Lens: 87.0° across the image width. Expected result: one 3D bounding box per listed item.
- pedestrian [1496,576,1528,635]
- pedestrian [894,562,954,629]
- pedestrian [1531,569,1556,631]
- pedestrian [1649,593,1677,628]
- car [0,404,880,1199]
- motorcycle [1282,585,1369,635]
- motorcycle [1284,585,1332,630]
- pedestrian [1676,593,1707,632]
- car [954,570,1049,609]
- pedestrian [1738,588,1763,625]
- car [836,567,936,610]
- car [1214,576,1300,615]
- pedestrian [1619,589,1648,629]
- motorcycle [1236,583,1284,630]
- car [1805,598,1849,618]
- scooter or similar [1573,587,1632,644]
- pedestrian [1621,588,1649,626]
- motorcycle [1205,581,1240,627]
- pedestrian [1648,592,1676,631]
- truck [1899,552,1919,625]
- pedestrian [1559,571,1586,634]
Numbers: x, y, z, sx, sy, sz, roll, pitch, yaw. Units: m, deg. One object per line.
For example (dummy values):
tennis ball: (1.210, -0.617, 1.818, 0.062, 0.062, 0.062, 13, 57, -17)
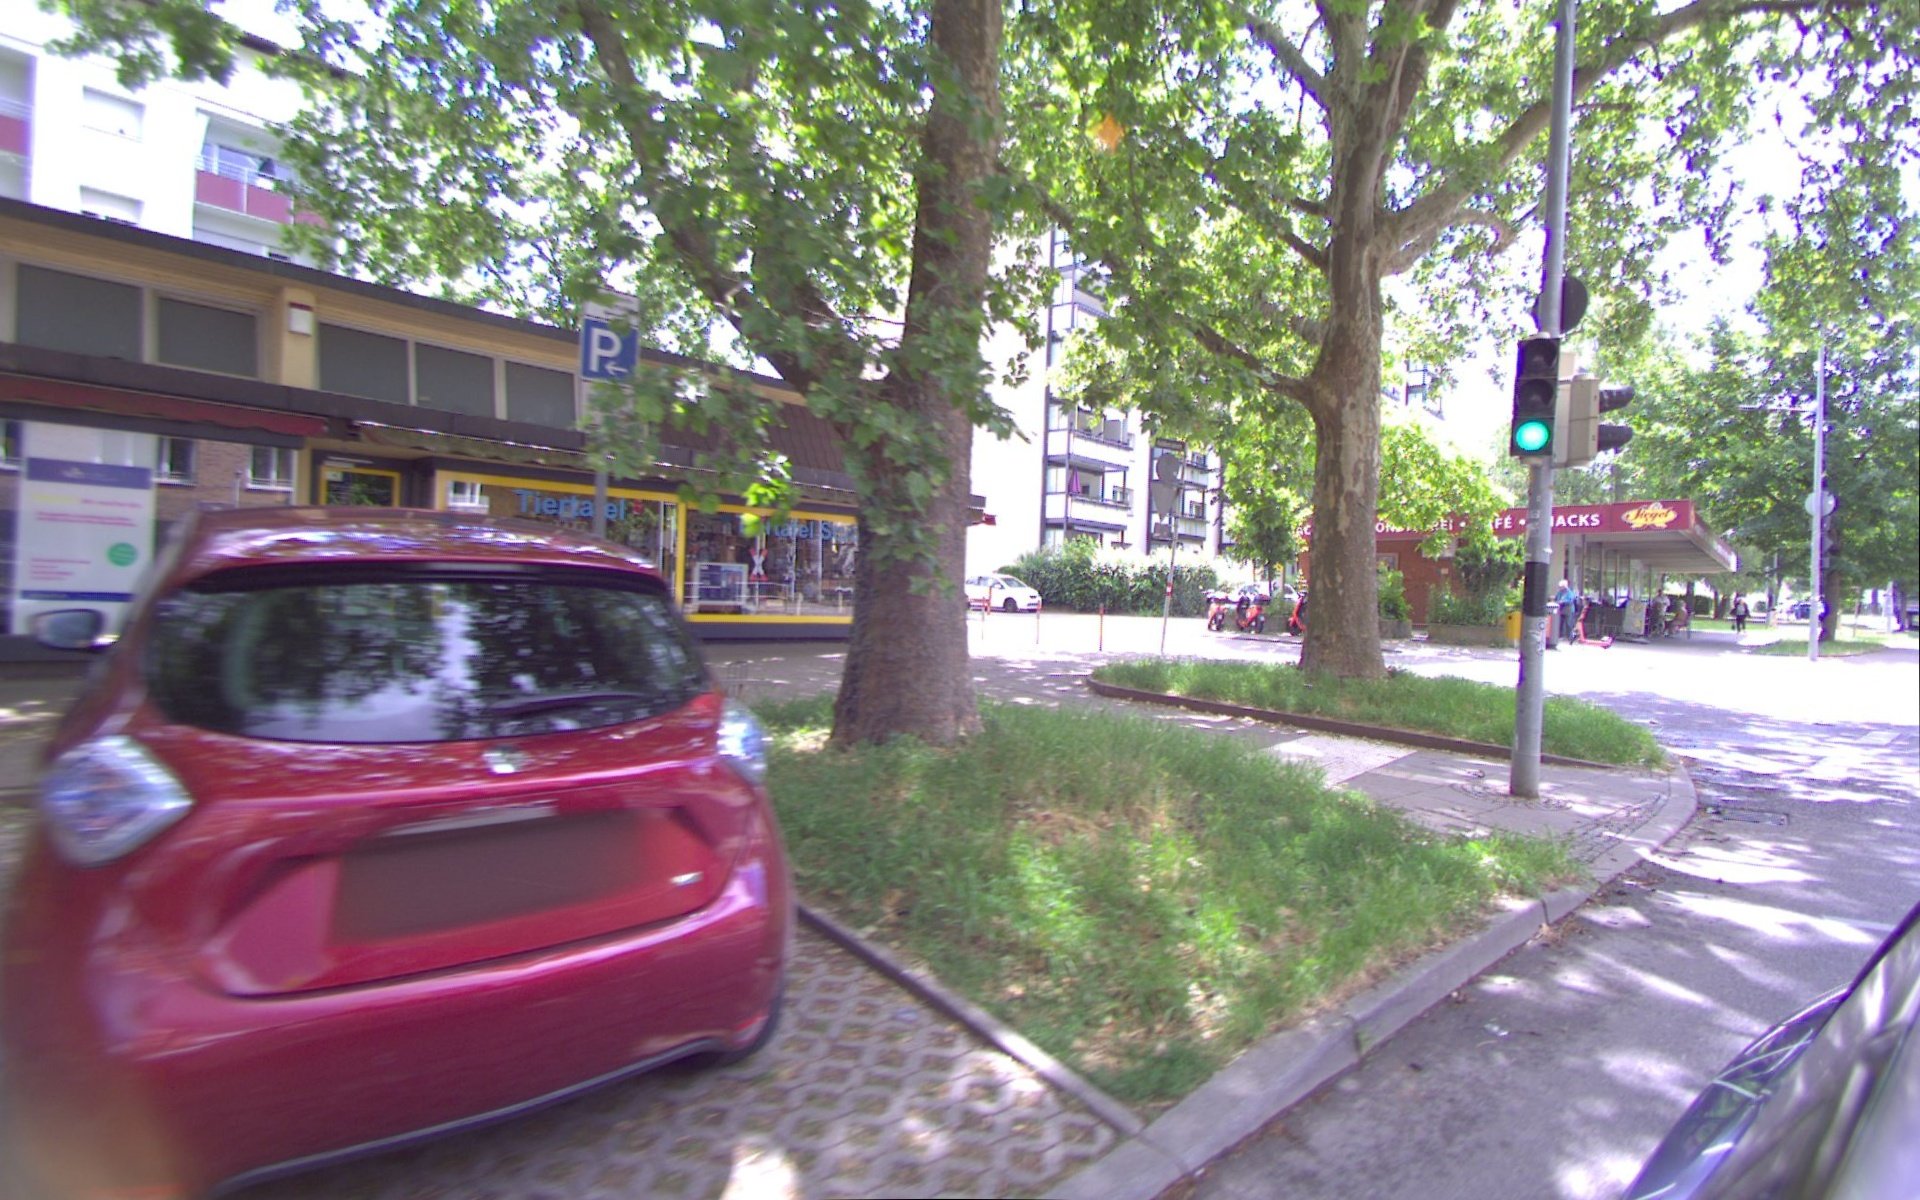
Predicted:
pedestrian: (14.998, 0.149, 27.490, 0.522, 1.571, 0.512, 1, 1, -9)
pedestrian: (-0.858, -0.097, 24.061, 0.808, 1.494, 1.083, 2, -2, 45)
pedestrian: (15.699, -0.012, 27.229, 0.436, 1.652, 0.399, 1, 1, 9)
pedestrian: (24.522, 0.365, 35.305, 0.671, 1.165, 0.668, 5, 4, 40)
car: (-2.114, 0.368, 3.587, 1.698, 1.630, 4.044, 1, 4, -37)
motorcycle: (9.528, 0.249, 26.487, 0.725, 1.210, 2.141, 1, 1, -31)
motorcycle: (10.086, 0.193, 29.374, 0.726, 1.210, 2.137, 2, 1, 3)
pedestrian: (24.597, 0.407, 34.031, 0.661, 1.282, 0.677, 1, 1, -36)
car: (1.628, -0.425, 40.316, 3.478, 1.456, 1.722, 2, 1, 43)
pedestrian: (34.087, 0.286, 43.653, 0.643, 1.557, 0.725, 1, 1, -44)
car: (-2.675, -0.427, 36.179, 3.478, 1.456, 1.613, 2, 1, 43)
car: (11.147, -0.180, 37.909, 1.743, 1.359, 3.436, 2, 1, 42)
pedestrian: (23.118, 0.298, 34.738, 0.675, 1.282, 0.664, 5, 4, 42)
motorcycle: (8.318, 0.151, 28.149, 0.726, 1.210, 2.138, 2, 2, 2)
car: (67.834, 0.606, 79.254, 1.793, 1.371, 3.960, 2, 2, 29)
scooter or similar: (15.520, 0.374, 24.463, 1.206, 1.324, 0.378, 1, 1, -8)
pedestrian: (23.903, 0.252, 35.840, 0.671, 1.282, 0.668, 5, 3, 40)
motorcycle: (7.522, 0.095, 29.090, 0.728, 1.210, 2.133, 2, 2, 9)
pedestrian: (23.469, 0.373, 33.822, 0.671, 1.282, 0.814, 2, 1, 40)
truck: (54.994, -0.582, 55.495, 2.607, 4.144, 9.516, 2, 1, 28)
pedestrian: (16.312, 0.069, 26.947, 0.436, 1.652, 0.399, 1, 1, 9)
